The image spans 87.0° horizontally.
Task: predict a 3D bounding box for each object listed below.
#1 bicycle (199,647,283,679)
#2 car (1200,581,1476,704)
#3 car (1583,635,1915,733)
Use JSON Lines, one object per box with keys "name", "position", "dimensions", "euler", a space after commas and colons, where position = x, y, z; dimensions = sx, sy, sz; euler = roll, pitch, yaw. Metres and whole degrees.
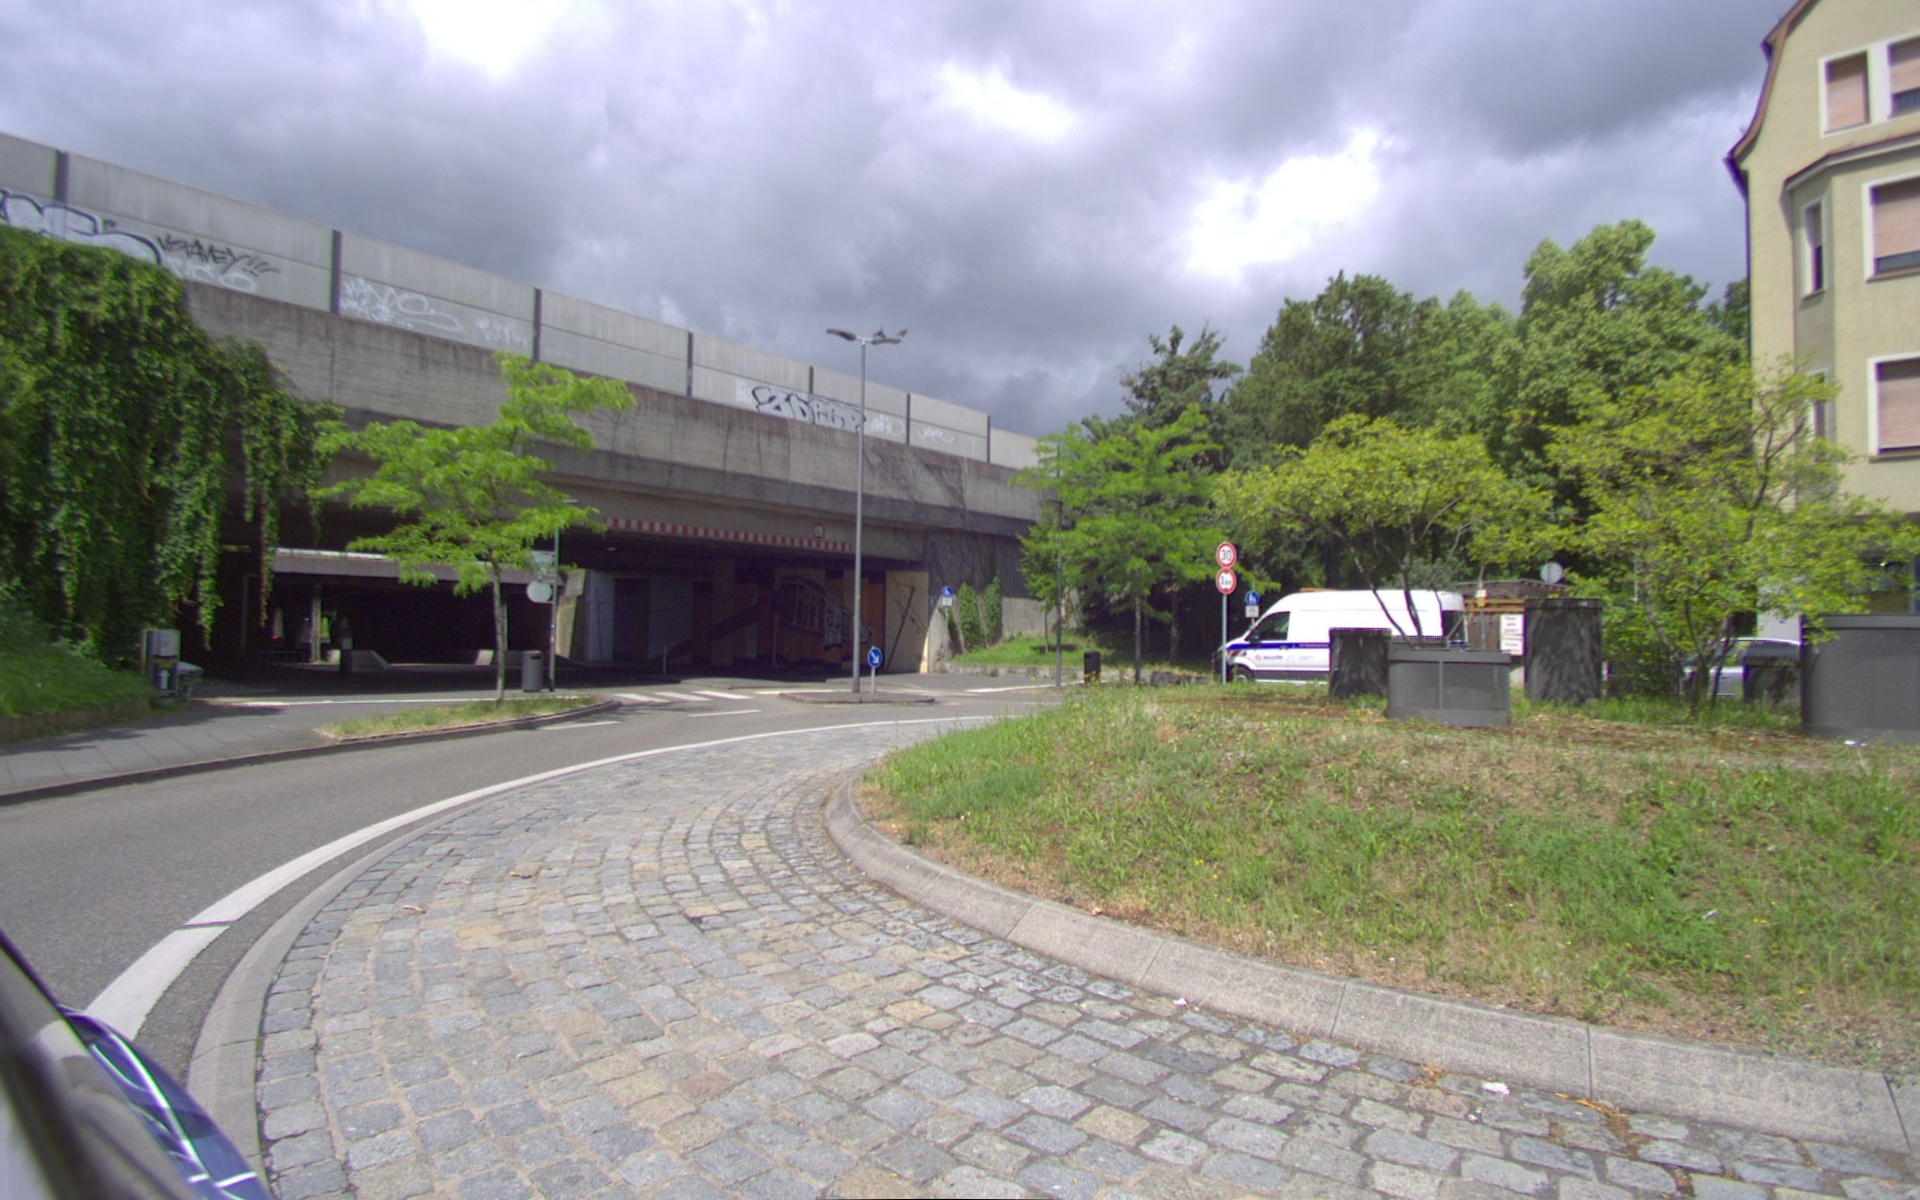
{"name": "bicycle", "position": [-21.201, 1.854, 29.876], "dimensions": [0.507, 0.911, 1.924], "euler": [-1, -4, 42]}
{"name": "car", "position": [8.939, 0.994, 24.417], "dimensions": [5.929, 2.627, 1.946], "euler": [-2, -2, 42]}
{"name": "car", "position": [12.536, 1.249, 16.263], "dimensions": [1.690, 1.364, 4.003], "euler": [2, -3, -44]}
